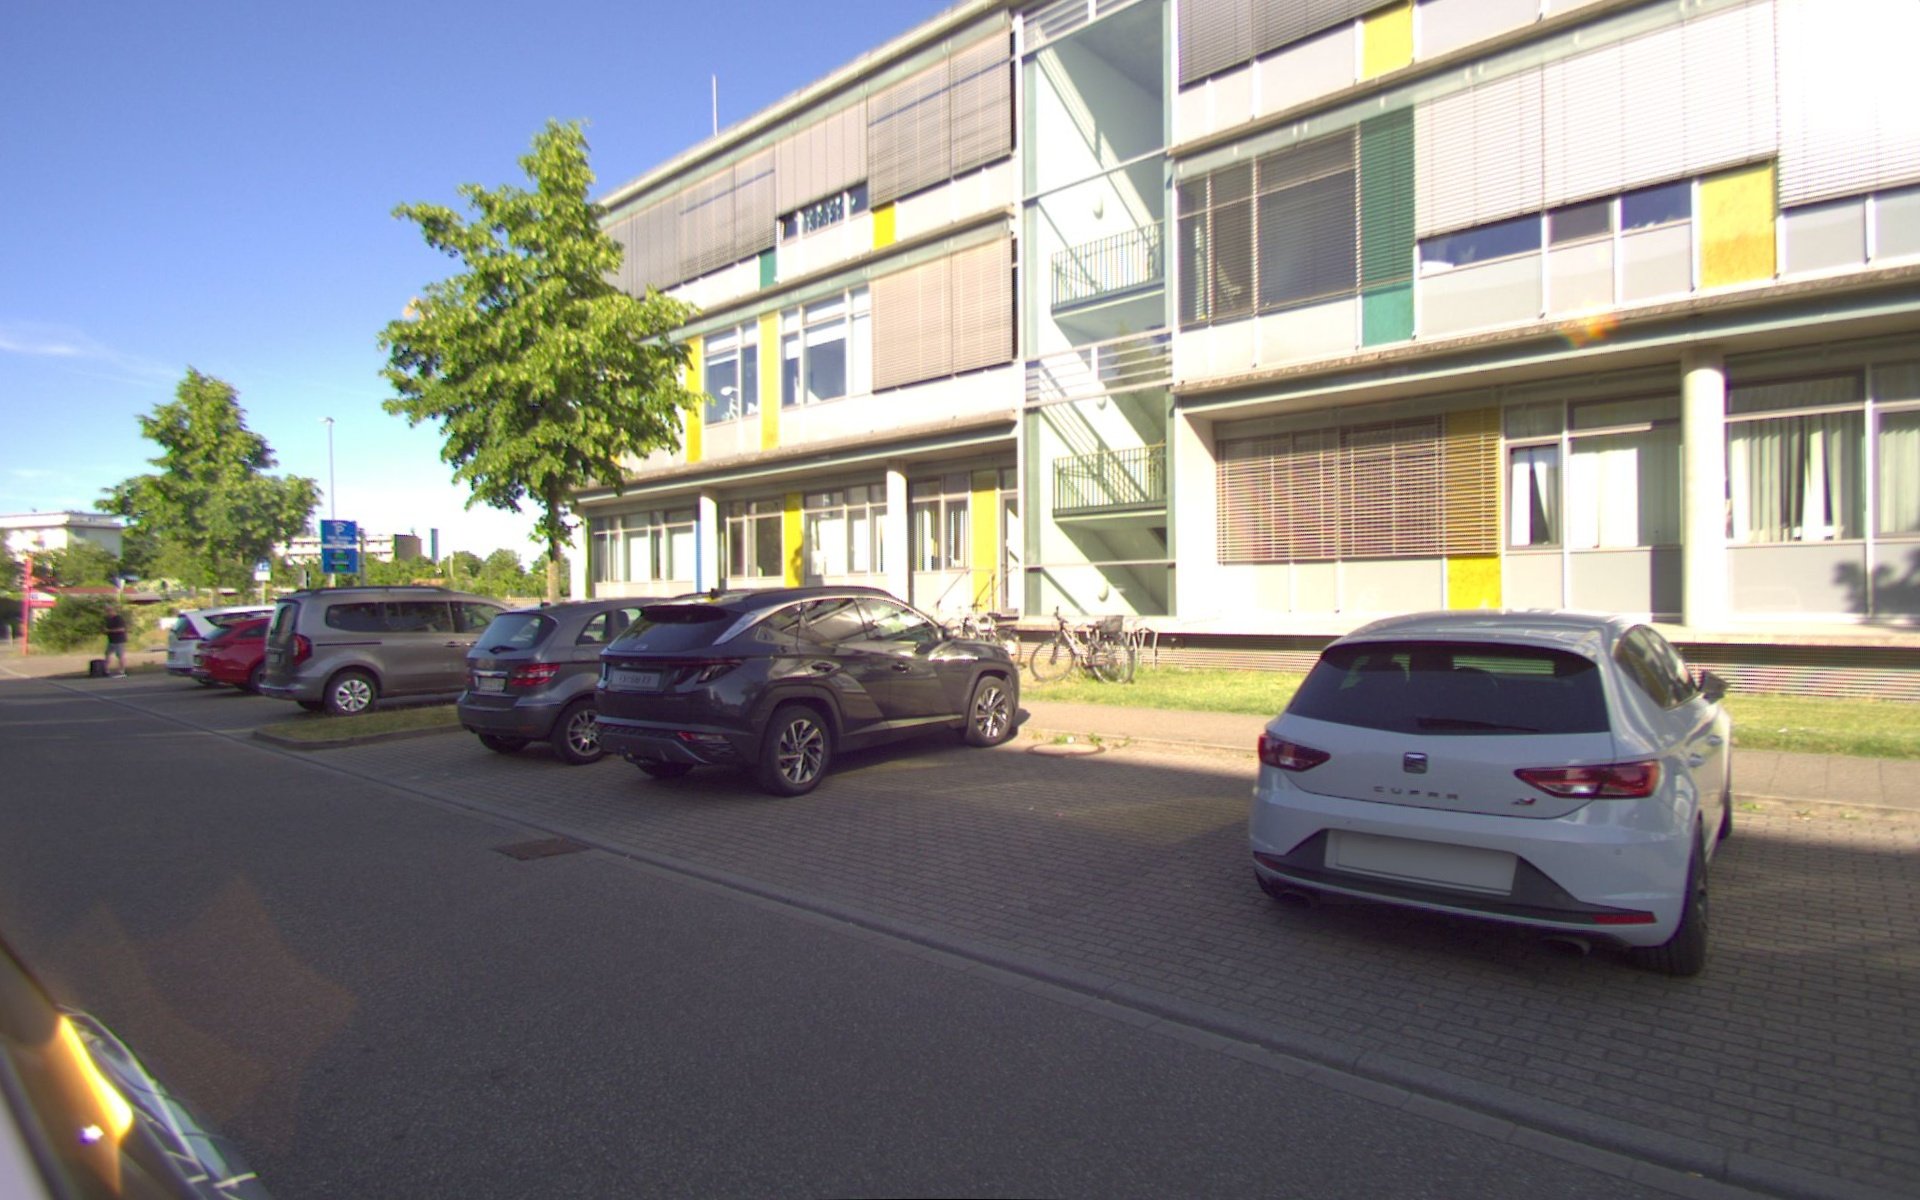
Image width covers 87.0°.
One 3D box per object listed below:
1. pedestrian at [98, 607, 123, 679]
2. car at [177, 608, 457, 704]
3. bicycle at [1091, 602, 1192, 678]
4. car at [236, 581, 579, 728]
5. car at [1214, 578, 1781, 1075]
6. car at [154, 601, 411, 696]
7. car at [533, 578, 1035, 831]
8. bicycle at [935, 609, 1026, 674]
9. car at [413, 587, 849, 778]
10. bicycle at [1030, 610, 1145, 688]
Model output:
[{"bbox_3d":[-21.198,1.060,25.254,0.479,1.733,0.364,4,4,38],"label":"pedestrian"},{"bbox_3d":[-12.501,1.003,19.849,4.297,1.471,2.002,-3,2,-44],"label":"car"},{"bbox_3d":[2.841,0.612,15.899,1.509,1.104,0.458,1,3,35],"label":"bicycle"},{"bbox_3d":[-8.576,0.723,15.998,2.000,1.876,4.302,-2,1,42],"label":"car"},{"bbox_3d":[3.069,0.671,5.261,1.822,1.433,4.050,0,2,40],"label":"car"},{"bbox_3d":[-14.513,0.957,21.828,4.297,1.659,2.002,-3,2,-44],"label":"car"},{"bbox_3d":[-1.338,0.689,9.287,1.997,1.639,4.308,0,2,37],"label":"car"},{"bbox_3d":[0.338,0.714,17.813,1.659,1.105,0.513,-1,-2,41],"label":"bicycle"},{"bbox_3d":[-3.497,0.749,11.492,1.997,1.602,4.308,-2,1,37],"label":"car"},{"bbox_3d":[1.847,0.700,14.808,1.659,1.087,0.513,-1,-2,41],"label":"bicycle"}]
